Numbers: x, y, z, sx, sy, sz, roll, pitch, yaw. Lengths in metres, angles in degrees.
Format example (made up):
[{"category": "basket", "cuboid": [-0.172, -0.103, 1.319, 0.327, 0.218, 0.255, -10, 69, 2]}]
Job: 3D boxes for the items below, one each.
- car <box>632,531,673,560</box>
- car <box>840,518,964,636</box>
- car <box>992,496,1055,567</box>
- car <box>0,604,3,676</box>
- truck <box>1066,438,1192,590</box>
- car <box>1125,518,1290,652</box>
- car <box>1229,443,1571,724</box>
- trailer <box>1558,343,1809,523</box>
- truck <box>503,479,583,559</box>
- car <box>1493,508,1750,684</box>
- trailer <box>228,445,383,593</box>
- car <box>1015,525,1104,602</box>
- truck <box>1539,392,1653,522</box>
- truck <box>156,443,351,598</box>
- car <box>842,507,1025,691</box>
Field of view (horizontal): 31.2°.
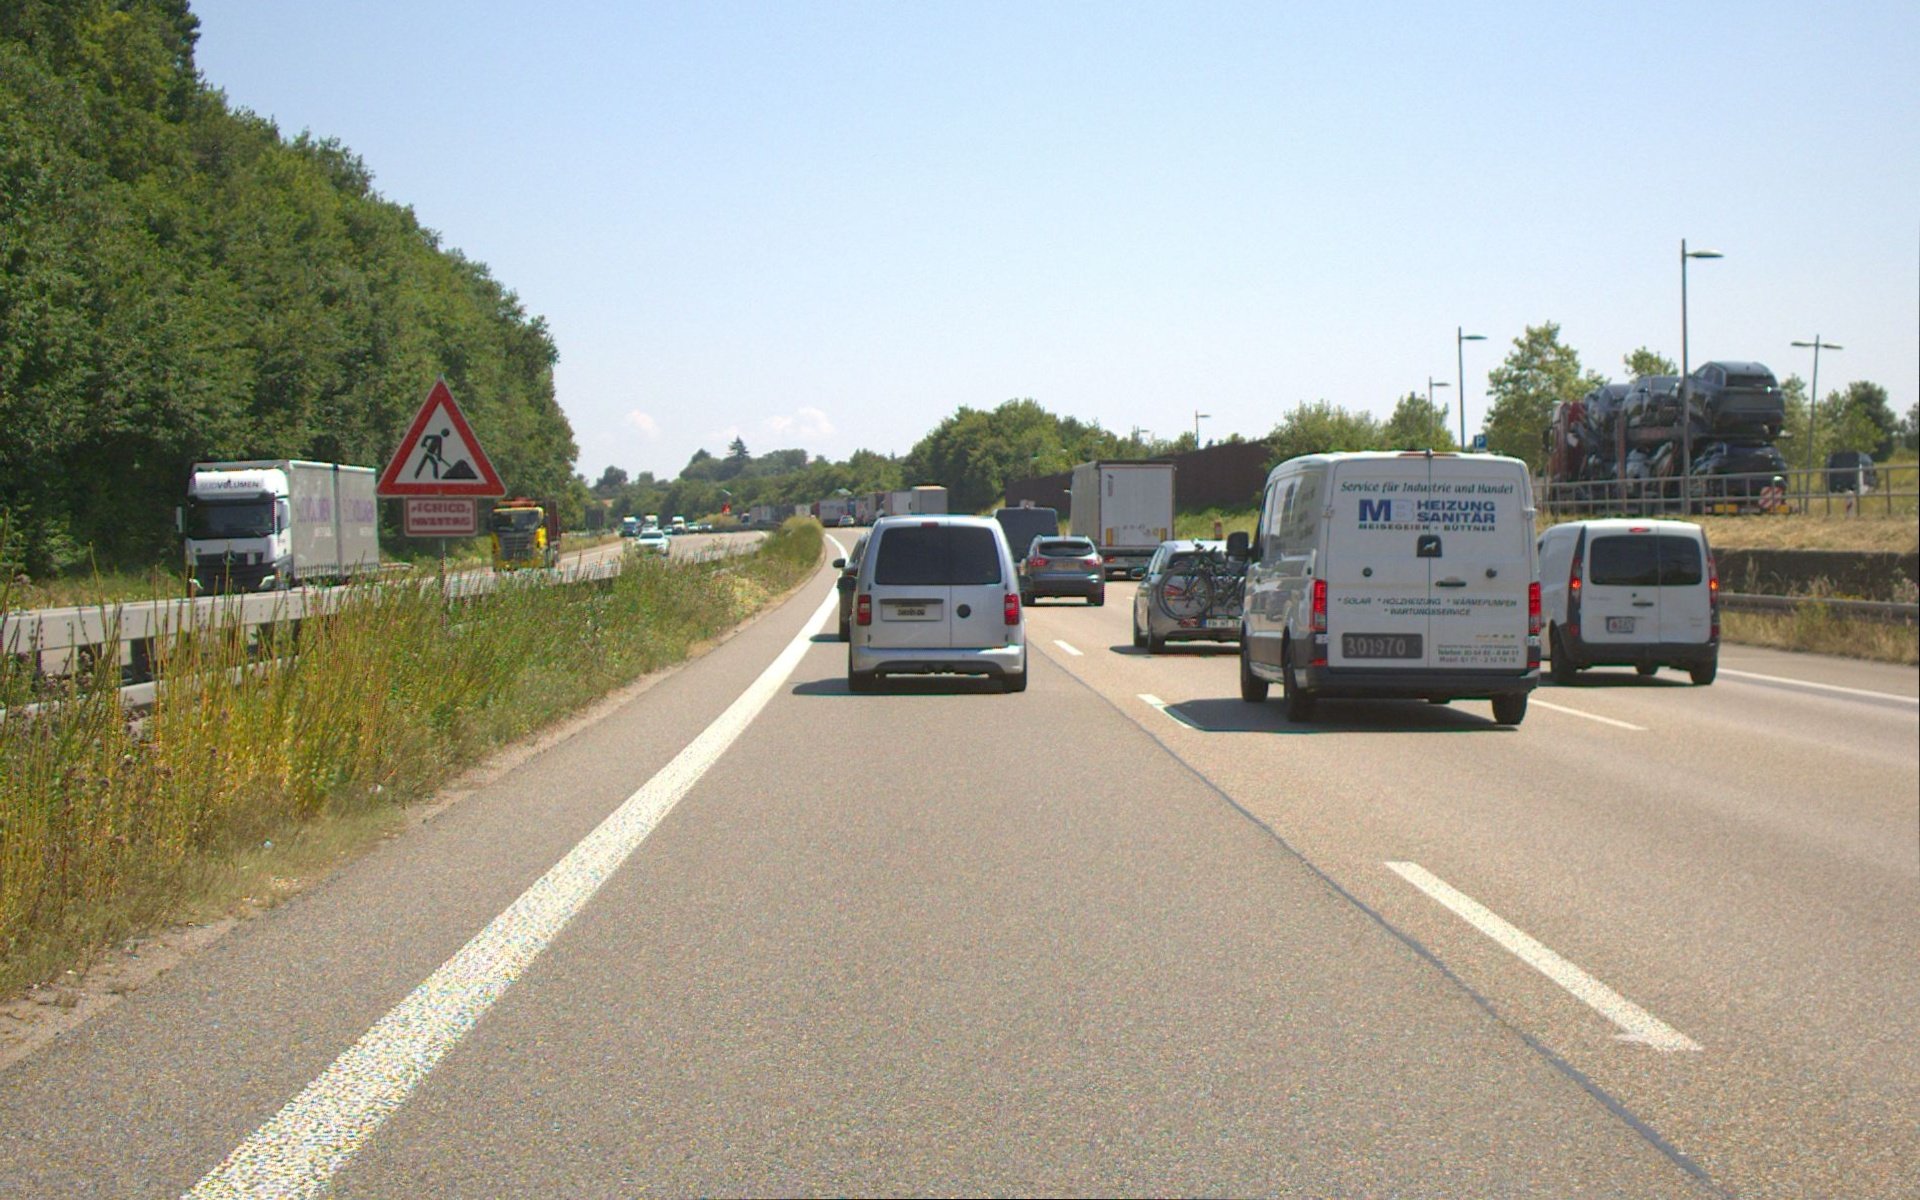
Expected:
[{"category": "car", "cuboid": [-18.512, -3.269, 207.219, 1.993, 1.665, 5.612, -3, 1, -1]}, {"category": "car", "cuboid": [-0.847, -0.360, 52.331, 1.745, 1.695, 4.088, -1, 1, 1]}, {"category": "car", "cuboid": [1.747, -1.894, 95.888, 1.674, 1.885, 4.088, -1, 1, 0]}, {"category": "car", "cuboid": [-13.397, 0.243, 42.655, 1.724, 1.650, 4.861, -2, 1, -1]}, {"category": "truck", "cuboid": [5.785, -2.932, 120.164, 3.788, 4.982, 12.519, 1, 1, 0]}, {"category": "car", "cuboid": [3.355, -0.226, 47.251, 1.976, 1.727, 4.088, -1, 1, 0]}, {"category": "car", "cuboid": [3.760, -0.164, 30.409, 2.181, 2.246, 5.364, 1, 1, -2]}, {"category": "trailer", "cuboid": [19.655, -4.376, 94.963, 2.605, 4.243, 18.423, 1, 1, -1]}, {"category": "truck", "cuboid": [-20.155, -3.858, 166.807, 2.782, 3.726, 11.159, 1, 1, -2]}, {"category": "car", "cuboid": [7.360, -0.070, 38.645, 1.950, 1.831, 4.179, -1, 1, -2]}, {"category": "trailer", "cuboid": [-19.819, -2.417, 104.553, 3.453, 4.265, 7.971, 1, 1, -2]}, {"category": "car", "cuboid": [2.239, -0.835, 78.116, 1.902, 1.666, 4.088, -1, 1, 0]}, {"category": "truck", "cuboid": [19.446, -4.353, 105.317, 2.602, 3.814, 4.000, 1, 1, -1]}, {"category": "truck", "cuboid": [-19.369, -2.163, 95.054, 3.453, 3.980, 11.125, -1, 1, -2]}, {"category": "car", "cuboid": [-0.239, -0.036, 35.433, 1.745, 1.758, 4.088, -1, 1, 0]}]
